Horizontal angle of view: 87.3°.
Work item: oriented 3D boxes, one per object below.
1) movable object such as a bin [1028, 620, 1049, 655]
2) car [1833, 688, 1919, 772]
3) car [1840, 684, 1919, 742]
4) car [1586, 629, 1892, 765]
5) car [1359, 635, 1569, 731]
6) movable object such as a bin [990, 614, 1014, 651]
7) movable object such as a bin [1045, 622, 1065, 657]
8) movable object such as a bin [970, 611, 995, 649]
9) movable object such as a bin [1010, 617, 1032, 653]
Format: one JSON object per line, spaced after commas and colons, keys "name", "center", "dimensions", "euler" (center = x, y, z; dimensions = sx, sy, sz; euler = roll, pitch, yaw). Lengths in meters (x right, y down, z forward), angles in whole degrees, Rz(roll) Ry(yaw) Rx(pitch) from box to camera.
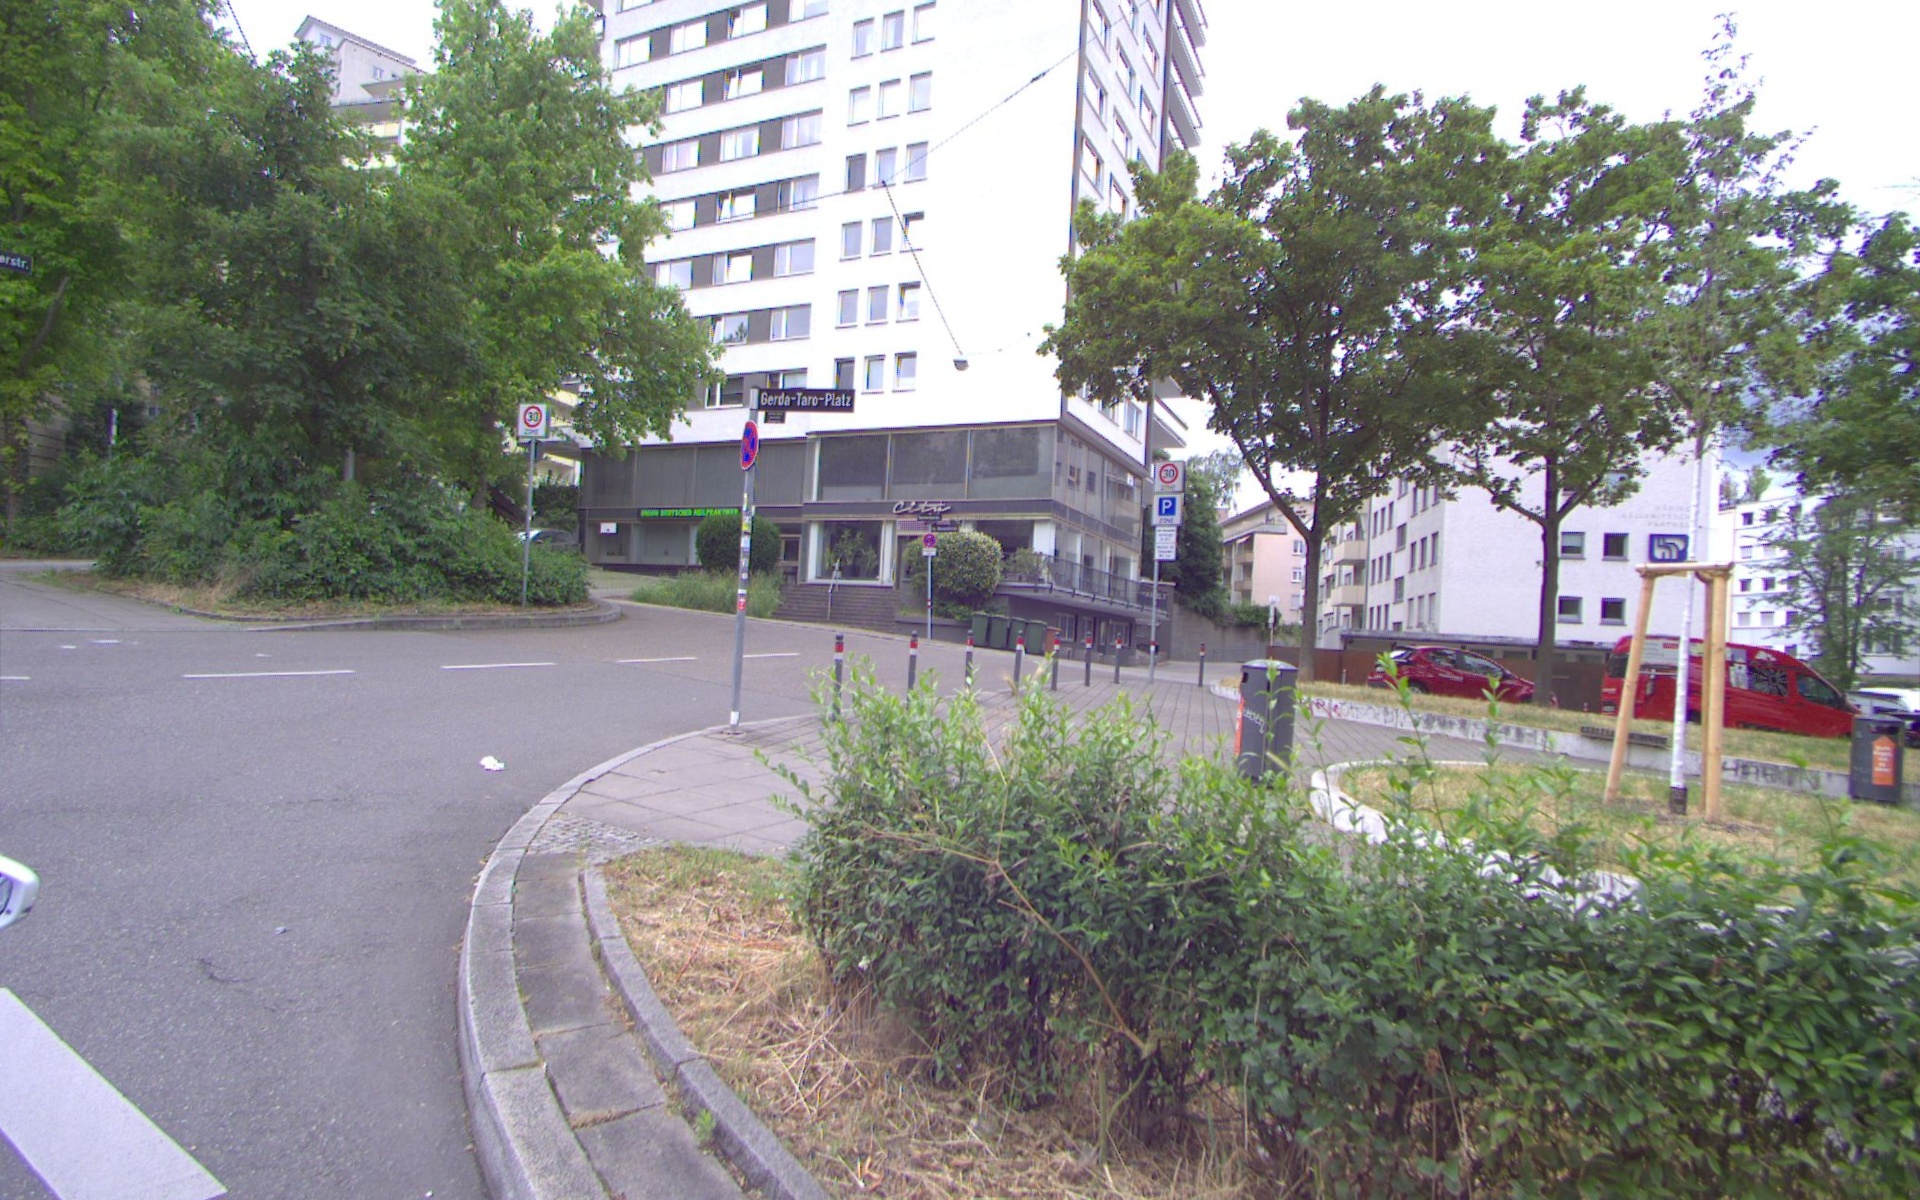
{"name": "movable object such as a bin", "center": [2.450, 1.156, 31.413], "dimensions": [0.485, 1.037, 0.547], "euler": [6, 1, 10]}
{"name": "car", "center": [22.103, 3.044, 21.821], "dimensions": [4.332, 1.584, 2.000], "euler": [7, 0, 4]}
{"name": "car", "center": [36.095, 4.367, 38.216], "dimensions": [2.064, 1.900, 4.613], "euler": [7, 0, 16]}
{"name": "car", "center": [16.959, 2.061, 22.123], "dimensions": [4.801, 2.241, 2.127], "euler": [7, 0, 2]}
{"name": "car", "center": [11.119, 1.809, 22.399], "dimensions": [3.647, 1.584, 1.749], "euler": [7, 0, 4]}
{"name": "movable object such as a bin", "center": [1.289, 0.999, 31.027], "dimensions": [0.565, 1.083, 0.554], "euler": [6, 1, 10]}
{"name": "movable object such as a bin", "center": [2.962, 1.240, 31.325], "dimensions": [0.485, 1.030, 0.547], "euler": [6, 1, 10]}
{"name": "movable object such as a bin", "center": [0.690, 0.924, 31.120], "dimensions": [0.599, 1.092, 0.554], "euler": [6, 1, 10]}
{"name": "movable object such as a bin", "center": [1.913, 1.083, 31.498], "dimensions": [0.528, 1.054, 0.535], "euler": [6, 1, 10]}
